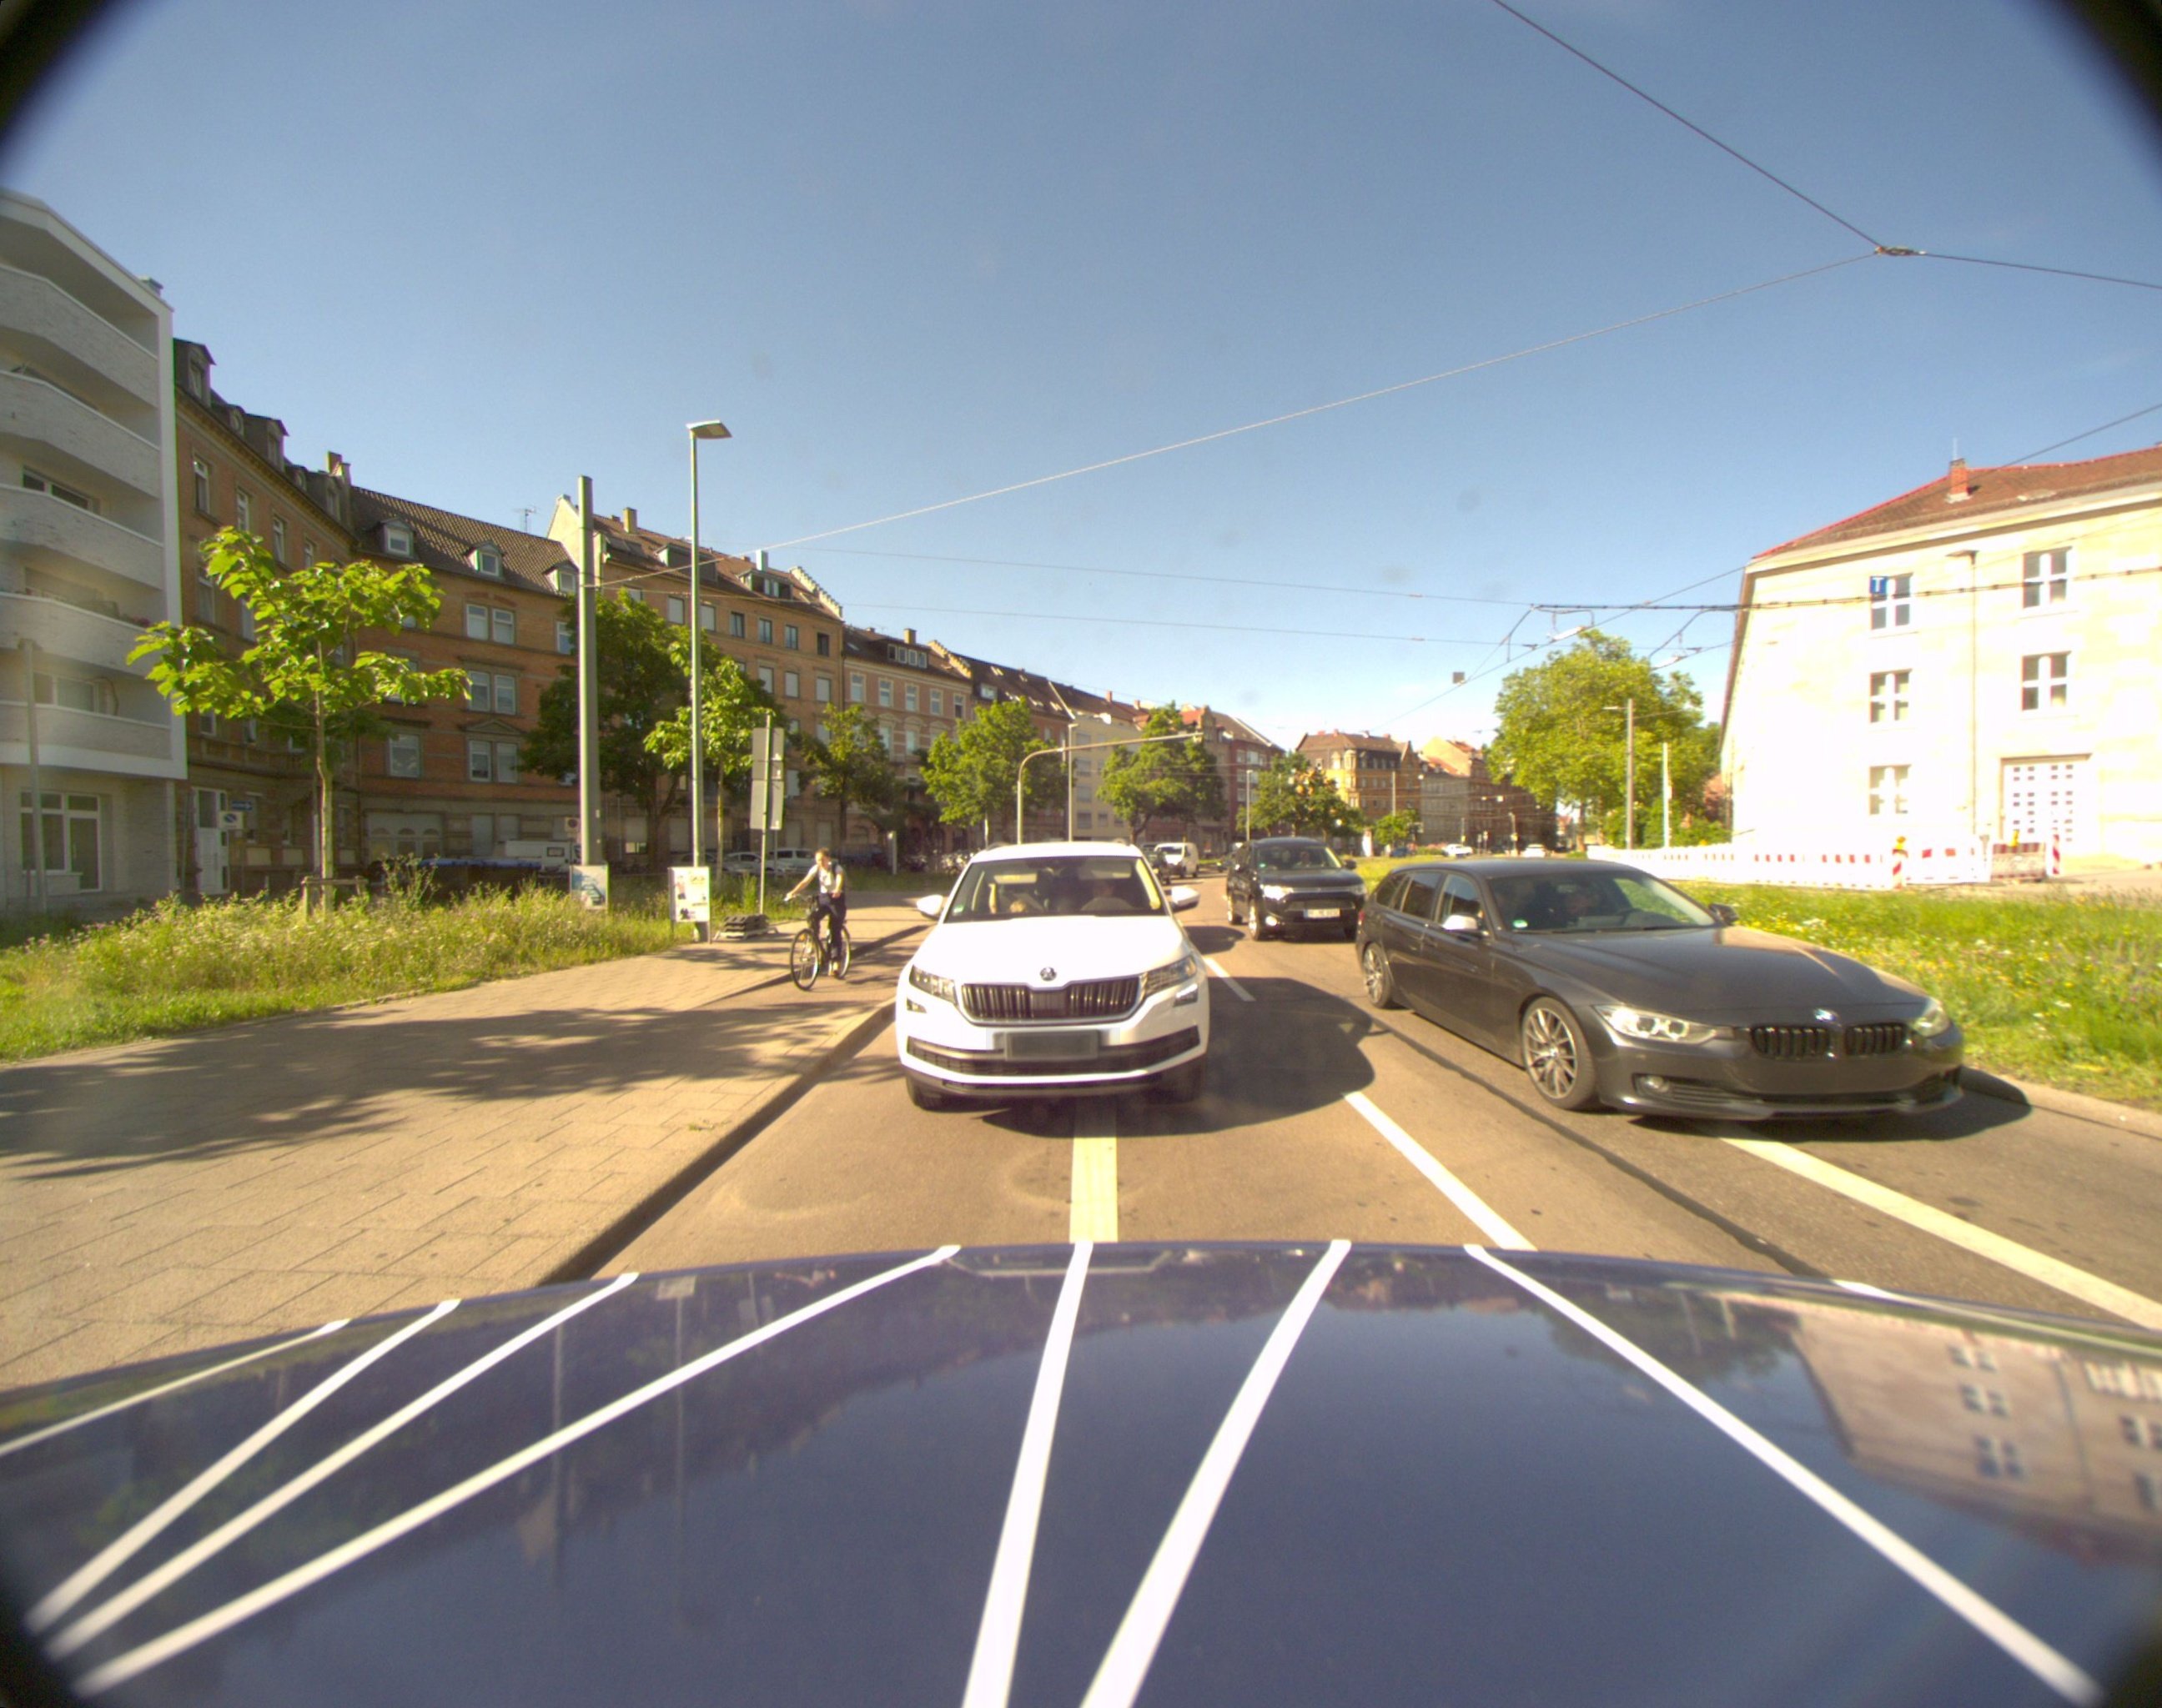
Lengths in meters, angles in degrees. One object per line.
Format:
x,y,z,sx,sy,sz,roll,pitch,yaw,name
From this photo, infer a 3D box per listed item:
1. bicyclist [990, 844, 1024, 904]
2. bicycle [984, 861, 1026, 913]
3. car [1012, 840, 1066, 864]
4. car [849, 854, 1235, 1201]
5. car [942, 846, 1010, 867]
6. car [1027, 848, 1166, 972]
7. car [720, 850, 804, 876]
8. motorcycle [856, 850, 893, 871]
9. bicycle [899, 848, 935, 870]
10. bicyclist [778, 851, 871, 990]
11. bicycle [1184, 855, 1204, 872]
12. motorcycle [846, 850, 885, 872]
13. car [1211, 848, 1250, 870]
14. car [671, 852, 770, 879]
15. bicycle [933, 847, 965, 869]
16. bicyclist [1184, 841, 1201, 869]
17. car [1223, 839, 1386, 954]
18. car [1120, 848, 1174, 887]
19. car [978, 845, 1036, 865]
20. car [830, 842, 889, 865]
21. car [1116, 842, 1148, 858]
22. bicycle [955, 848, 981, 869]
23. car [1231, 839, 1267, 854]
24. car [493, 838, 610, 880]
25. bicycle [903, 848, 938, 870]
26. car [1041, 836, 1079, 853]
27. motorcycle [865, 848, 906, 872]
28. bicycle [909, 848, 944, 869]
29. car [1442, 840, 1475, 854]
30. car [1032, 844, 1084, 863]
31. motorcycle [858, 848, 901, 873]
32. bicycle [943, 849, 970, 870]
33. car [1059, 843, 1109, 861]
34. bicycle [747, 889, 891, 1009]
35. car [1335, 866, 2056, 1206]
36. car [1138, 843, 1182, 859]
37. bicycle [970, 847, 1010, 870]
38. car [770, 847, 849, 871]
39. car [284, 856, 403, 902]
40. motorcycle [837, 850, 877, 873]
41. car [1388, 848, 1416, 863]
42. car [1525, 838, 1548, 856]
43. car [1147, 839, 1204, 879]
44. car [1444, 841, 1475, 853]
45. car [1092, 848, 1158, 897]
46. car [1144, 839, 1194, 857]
-2.107,0.555,21.705,0.735,1.685,0.972,-1,1,6,bicyclist
-2.126,0.907,21.577,0.736,1.353,2.076,-1,1,6,bicycle
-3.104,-0.139,56.106,3.825,1.698,1.682,0,1,3,car
-0.226,0.852,5.951,1.842,1.636,4.397,-2,0,-1,car
-7.040,0.173,51.297,4.322,1.398,1.682,0,1,3,car
0.237,0.760,12.610,1.842,1.636,4.397,-2,0,1,car
-16.404,0.437,39.108,3.696,1.244,1.683,0,1,13,car
-12.599,0.399,46.407,2.199,1.260,0.664,-2,1,24,motorcycle
-9.740,0.304,45.072,2.198,1.260,0.664,-2,1,30,bicycle
-3.128,0.777,9.358,0.668,1.619,0.972,-1,1,10,bicyclist
8.153,0.660,54.762,0.763,1.138,2.287,0,1,26,bicycle
-12.937,0.412,45.627,2.314,1.276,0.664,-2,1,24,motorcycle
10.933,0.330,55.273,1.836,1.464,4.720,0,1,23,car
-17.497,0.531,36.909,4.156,1.244,1.683,0,1,13,car
-7.726,0.238,44.520,0.664,1.260,2.198,-3,1,-45,bicycle
8.033,0.080,54.673,0.847,2.002,1.198,0,1,29,bicyclist
3.699,0.624,13.400,1.841,1.636,4.399,-2,0,5,car
3.110,0.556,34.802,1.837,1.637,4.152,0,1,14,car
-5.224,0.084,53.967,3.822,1.398,1.683,0,1,9,car
-15.607,-0.059,53.673,1.547,1.578,3.709,1,2,41,car
5.473,-0.424,80.729,1.547,1.578,3.607,1,2,41,car
-7.119,0.306,47.756,0.664,1.260,2.199,-3,1,-36,bicycle
18.699,-0.822,84.660,3.823,1.581,1.600,0,1,6,car
-27.115,0.214,39.012,2.047,2.026,4.510,1,2,41,car
-9.704,0.292,46.011,2.198,1.260,0.664,-2,1,32,bicycle
-1.935,-0.945,71.667,1.547,1.578,3.607,1,2,41,car
-11.145,0.355,43.296,2.200,1.315,0.664,-2,1,18,motorcycle
-9.507,0.277,46.714,2.198,1.260,0.664,-2,1,32,bicycle
54.505,-1.038,109.901,2.000,1.864,4.587,-2,1,-9,car
-1.772,-0.056,58.714,3.823,1.398,1.600,0,1,6,car
-11.175,0.372,42.209,2.200,1.322,0.663,-2,1,13,motorcycle
-7.682,0.338,46.762,0.664,1.260,2.199,-3,1,-36,bicycle
0.264,-0.162,61.166,3.823,1.398,1.600,0,1,6,car
-3.126,1.081,9.336,0.668,1.190,2.156,-1,1,10,bicycle
3.480,0.848,5.596,1.741,1.359,4.426,-2,0,1,car
7.130,-0.251,68.181,3.823,1.372,1.600,0,1,9,car
-5.473,0.265,45.741,2.207,1.260,0.662,-3,1,-25,bicycle
-14.678,0.253,41.197,3.700,1.244,1.540,0,1,2,car
-26.166,0.826,27.151,1.835,1.419,4.378,-1,1,-27,car
-13.286,0.436,45.022,2.314,1.270,0.664,-2,1,24,motorcycle
36.856,0.103,87.269,1.835,1.637,4.157,1,2,40,car
44.522,-0.680,74.211,1.820,1.636,4.190,-1,0,33,car
5.334,0.224,42.383,1.979,2.074,4.720,0,1,22,car
57.848,-1.066,116.162,3.989,1.641,1.866,-2,1,31,car
1.646,0.596,26.959,1.838,1.543,4.151,0,1,10,car
8.202,-0.591,70.611,4.578,1.658,1.600,0,1,7,car
